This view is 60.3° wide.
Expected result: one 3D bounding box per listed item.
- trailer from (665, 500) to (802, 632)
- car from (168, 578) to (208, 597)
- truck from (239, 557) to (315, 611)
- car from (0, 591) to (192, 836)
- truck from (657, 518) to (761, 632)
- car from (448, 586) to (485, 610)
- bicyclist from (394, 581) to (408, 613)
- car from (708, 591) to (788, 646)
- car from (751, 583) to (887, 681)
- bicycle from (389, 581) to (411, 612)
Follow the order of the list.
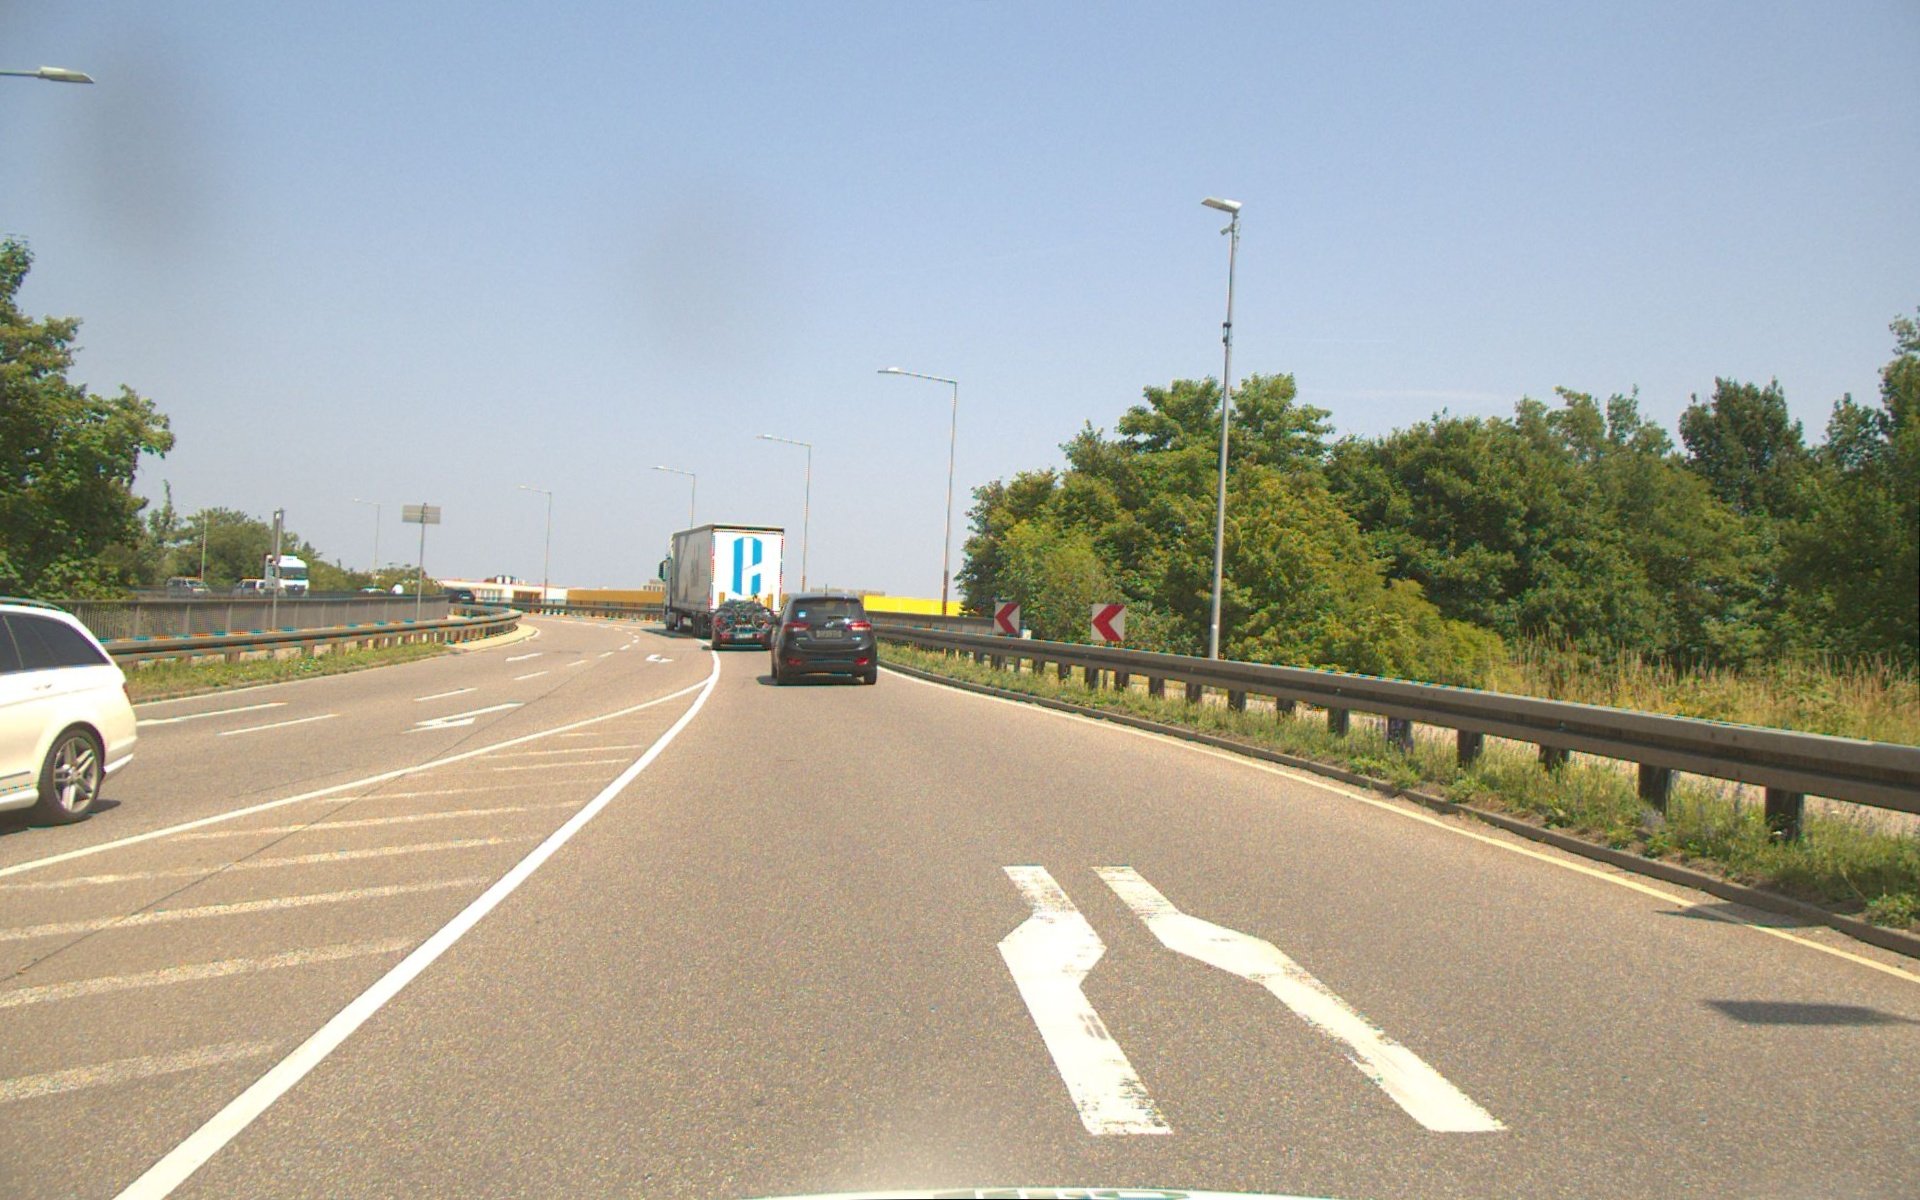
[{"bbox_3d":[-8.864,-1.212,63.222,3.512,4.460,11.391,2,0,-16],"label":"trailer"},{"bbox_3d":[-65.401,-1.053,140.185,3.544,1.410,1.557,2,0,37],"label":"car"},{"bbox_3d":[-54.423,-1.271,131.801,6.062,4.061,2.704,2,0,36],"label":"truck"},{"bbox_3d":[-6.526,0.664,9.375,1.789,1.431,4.890,0,0,4],"label":"car"},{"bbox_3d":[-10.763,-1.026,70.342,3.514,4.518,6.488,2,0,-16],"label":"truck"},{"bbox_3d":[-34.711,-0.157,116.300,1.818,1.534,3.603,2,0,-27],"label":"car"},{"bbox_3d":[-34.589,-0.188,102.330,0.618,1.919,0.704,2,-1,-34],"label":"bicyclist"},{"bbox_3d":[-6.110,0.521,48.010,1.971,1.454,3.774,2,0,-3],"label":"car"},{"bbox_3d":[-2.613,0.532,29.929,1.888,1.601,3.879,2,0,-13],"label":"car"},{"bbox_3d":[-34.723,-0.208,102.535,0.692,1.833,2.155,2,0,-34],"label":"bicycle"}]
